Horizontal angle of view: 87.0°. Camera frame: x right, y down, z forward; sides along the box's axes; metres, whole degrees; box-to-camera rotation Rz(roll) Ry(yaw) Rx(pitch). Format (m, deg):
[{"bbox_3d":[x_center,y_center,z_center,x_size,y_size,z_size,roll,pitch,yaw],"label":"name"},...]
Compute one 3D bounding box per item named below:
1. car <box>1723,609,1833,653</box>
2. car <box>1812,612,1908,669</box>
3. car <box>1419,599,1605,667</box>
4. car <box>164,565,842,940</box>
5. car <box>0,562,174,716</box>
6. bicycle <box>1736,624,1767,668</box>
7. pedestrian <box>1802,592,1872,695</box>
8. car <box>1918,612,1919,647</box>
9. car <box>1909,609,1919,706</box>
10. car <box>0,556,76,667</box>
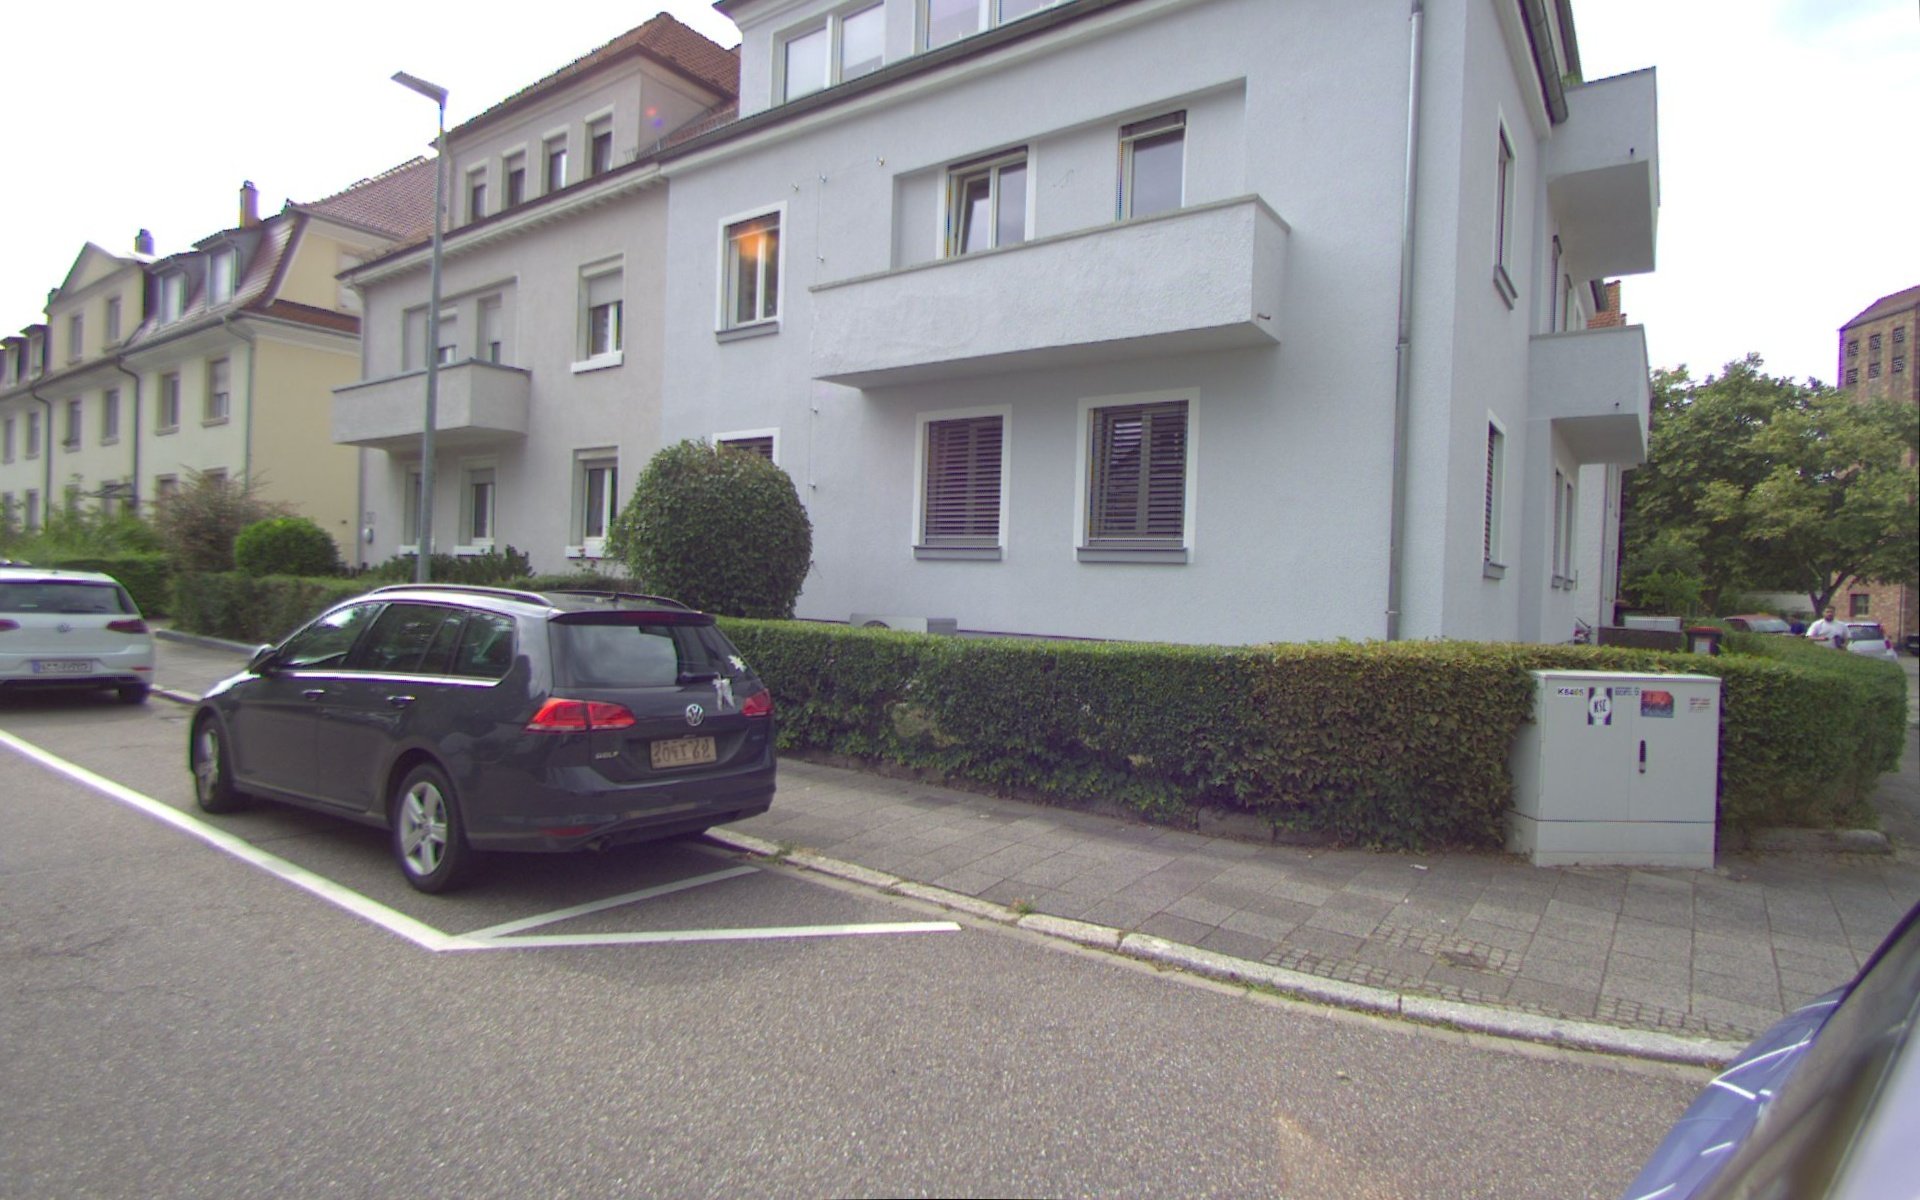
[{"bbox_3d":[30.120,1.112,37.407,1.624,1.515,3.470,-1,-1,10],"label":"car"},{"bbox_3d":[25.853,1.121,29.168,1.640,1.515,3.437,-2,-1,35],"label":"car"},{"bbox_3d":[14.297,0.806,26.267,3.978,1.482,1.973,3,1,37],"label":"car"},{"bbox_3d":[-2.911,0.603,6.164,4.146,1.490,1.838,3,1,34],"label":"car"},{"bbox_3d":[-10.919,0.333,11.779,4.154,1.490,1.834,3,1,38],"label":"car"},{"bbox_3d":[21.791,1.250,27.888,0.420,1.117,2.091,2,1,32],"label":"bicycle"},{"bbox_3d":[17.008,0.823,19.658,0.879,1.902,1.064,2,1,37],"label":"pedestrian"},{"bbox_3d":[43.255,1.381,42.467,4.203,1.482,1.662,3,3,36],"label":"car"},{"bbox_3d":[15.086,0.888,14.508,1.640,1.515,3.437,-2,-1,35],"label":"car"},{"bbox_3d":[-14.739,0.092,14.920,4.154,1.490,1.834,3,1,38],"label":"car"}]
